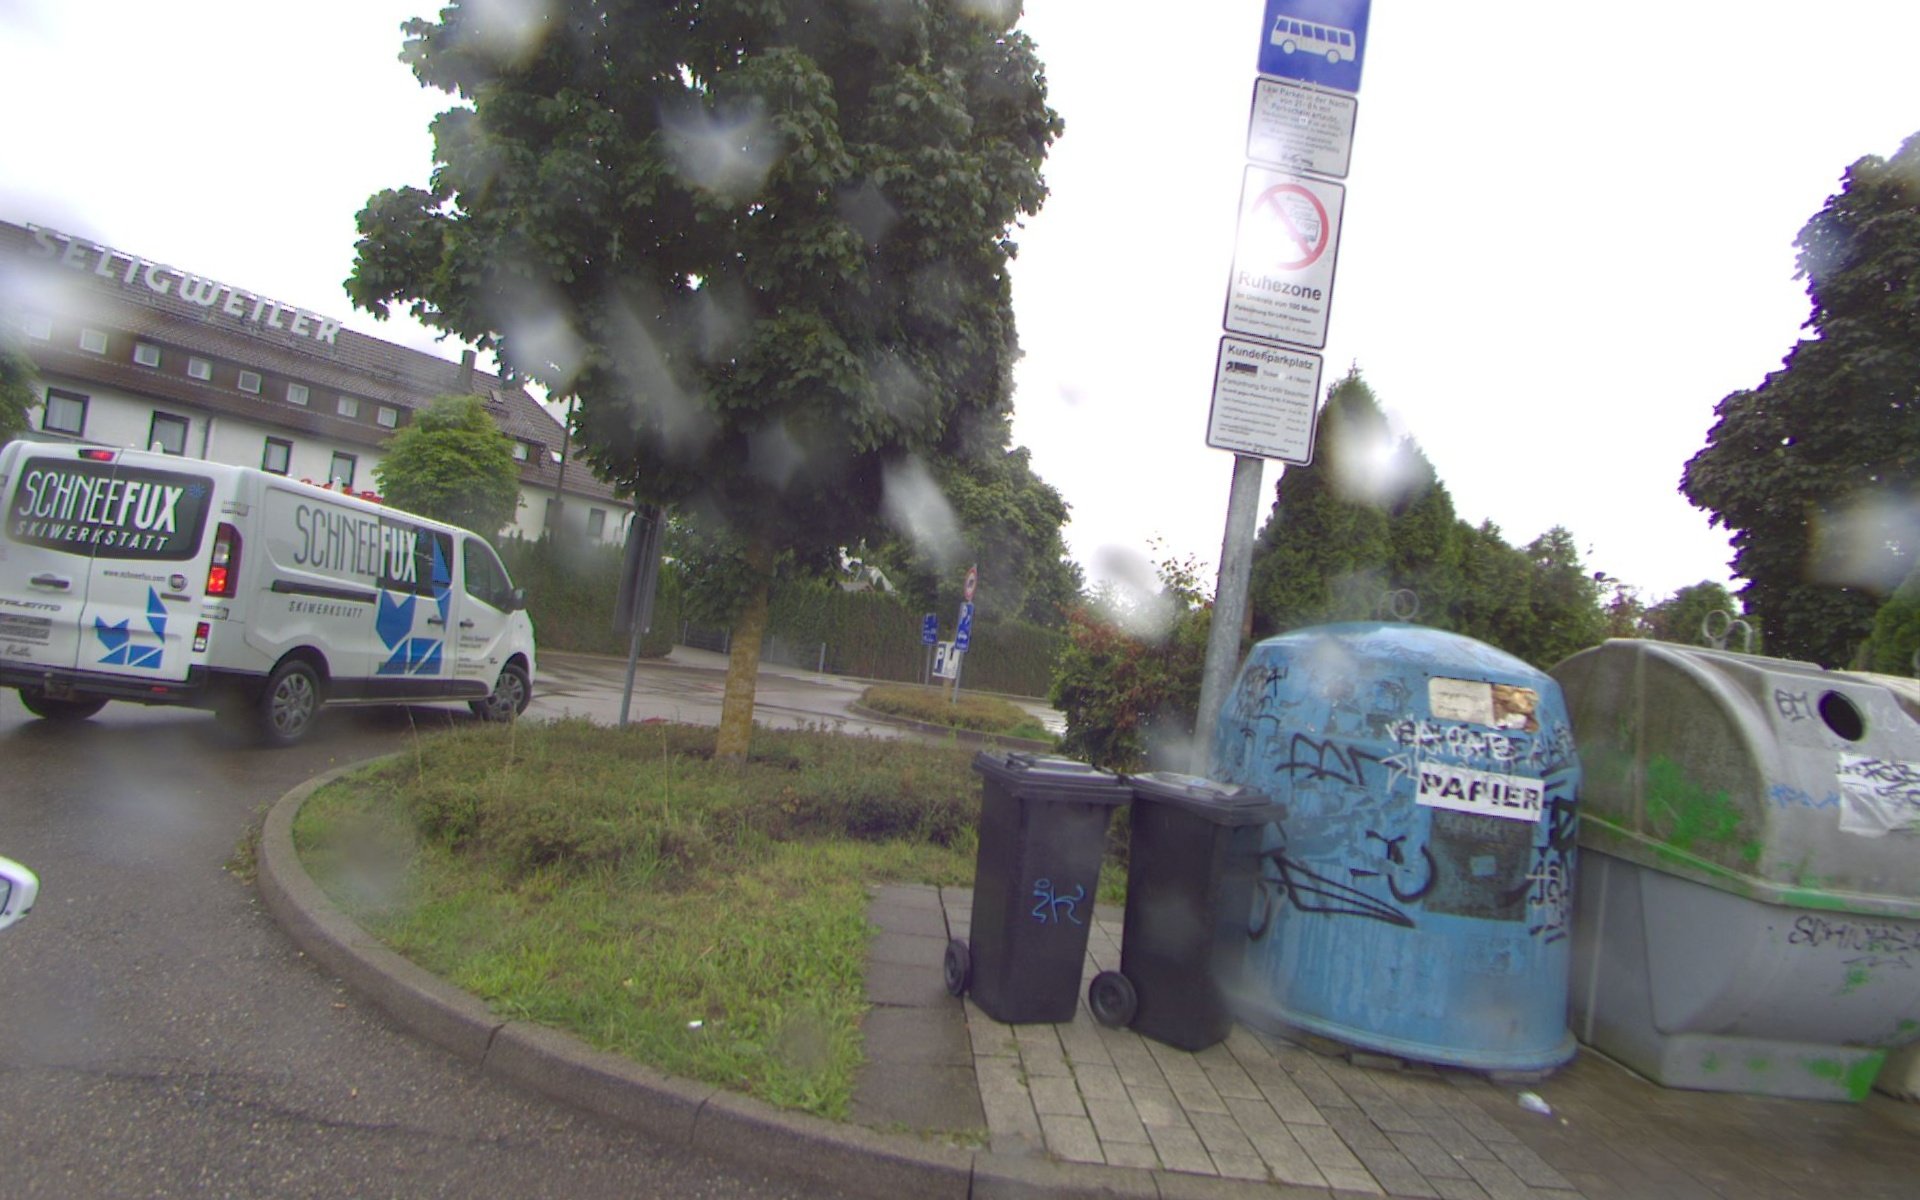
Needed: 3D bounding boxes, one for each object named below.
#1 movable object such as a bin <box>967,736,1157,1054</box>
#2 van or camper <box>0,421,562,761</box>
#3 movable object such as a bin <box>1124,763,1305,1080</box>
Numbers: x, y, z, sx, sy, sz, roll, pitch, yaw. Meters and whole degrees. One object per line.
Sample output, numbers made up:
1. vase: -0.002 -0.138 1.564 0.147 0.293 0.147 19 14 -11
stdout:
1. movable object such as a bin: 0.381 1.016 3.619 0.479 0.950 0.450 7 0 19
2. van or camper: -5.801 0.064 9.015 2.154 1.966 5.204 8 -3 0
3. movable object such as a bin: 0.920 1.103 3.598 0.479 0.928 0.450 7 0 19
